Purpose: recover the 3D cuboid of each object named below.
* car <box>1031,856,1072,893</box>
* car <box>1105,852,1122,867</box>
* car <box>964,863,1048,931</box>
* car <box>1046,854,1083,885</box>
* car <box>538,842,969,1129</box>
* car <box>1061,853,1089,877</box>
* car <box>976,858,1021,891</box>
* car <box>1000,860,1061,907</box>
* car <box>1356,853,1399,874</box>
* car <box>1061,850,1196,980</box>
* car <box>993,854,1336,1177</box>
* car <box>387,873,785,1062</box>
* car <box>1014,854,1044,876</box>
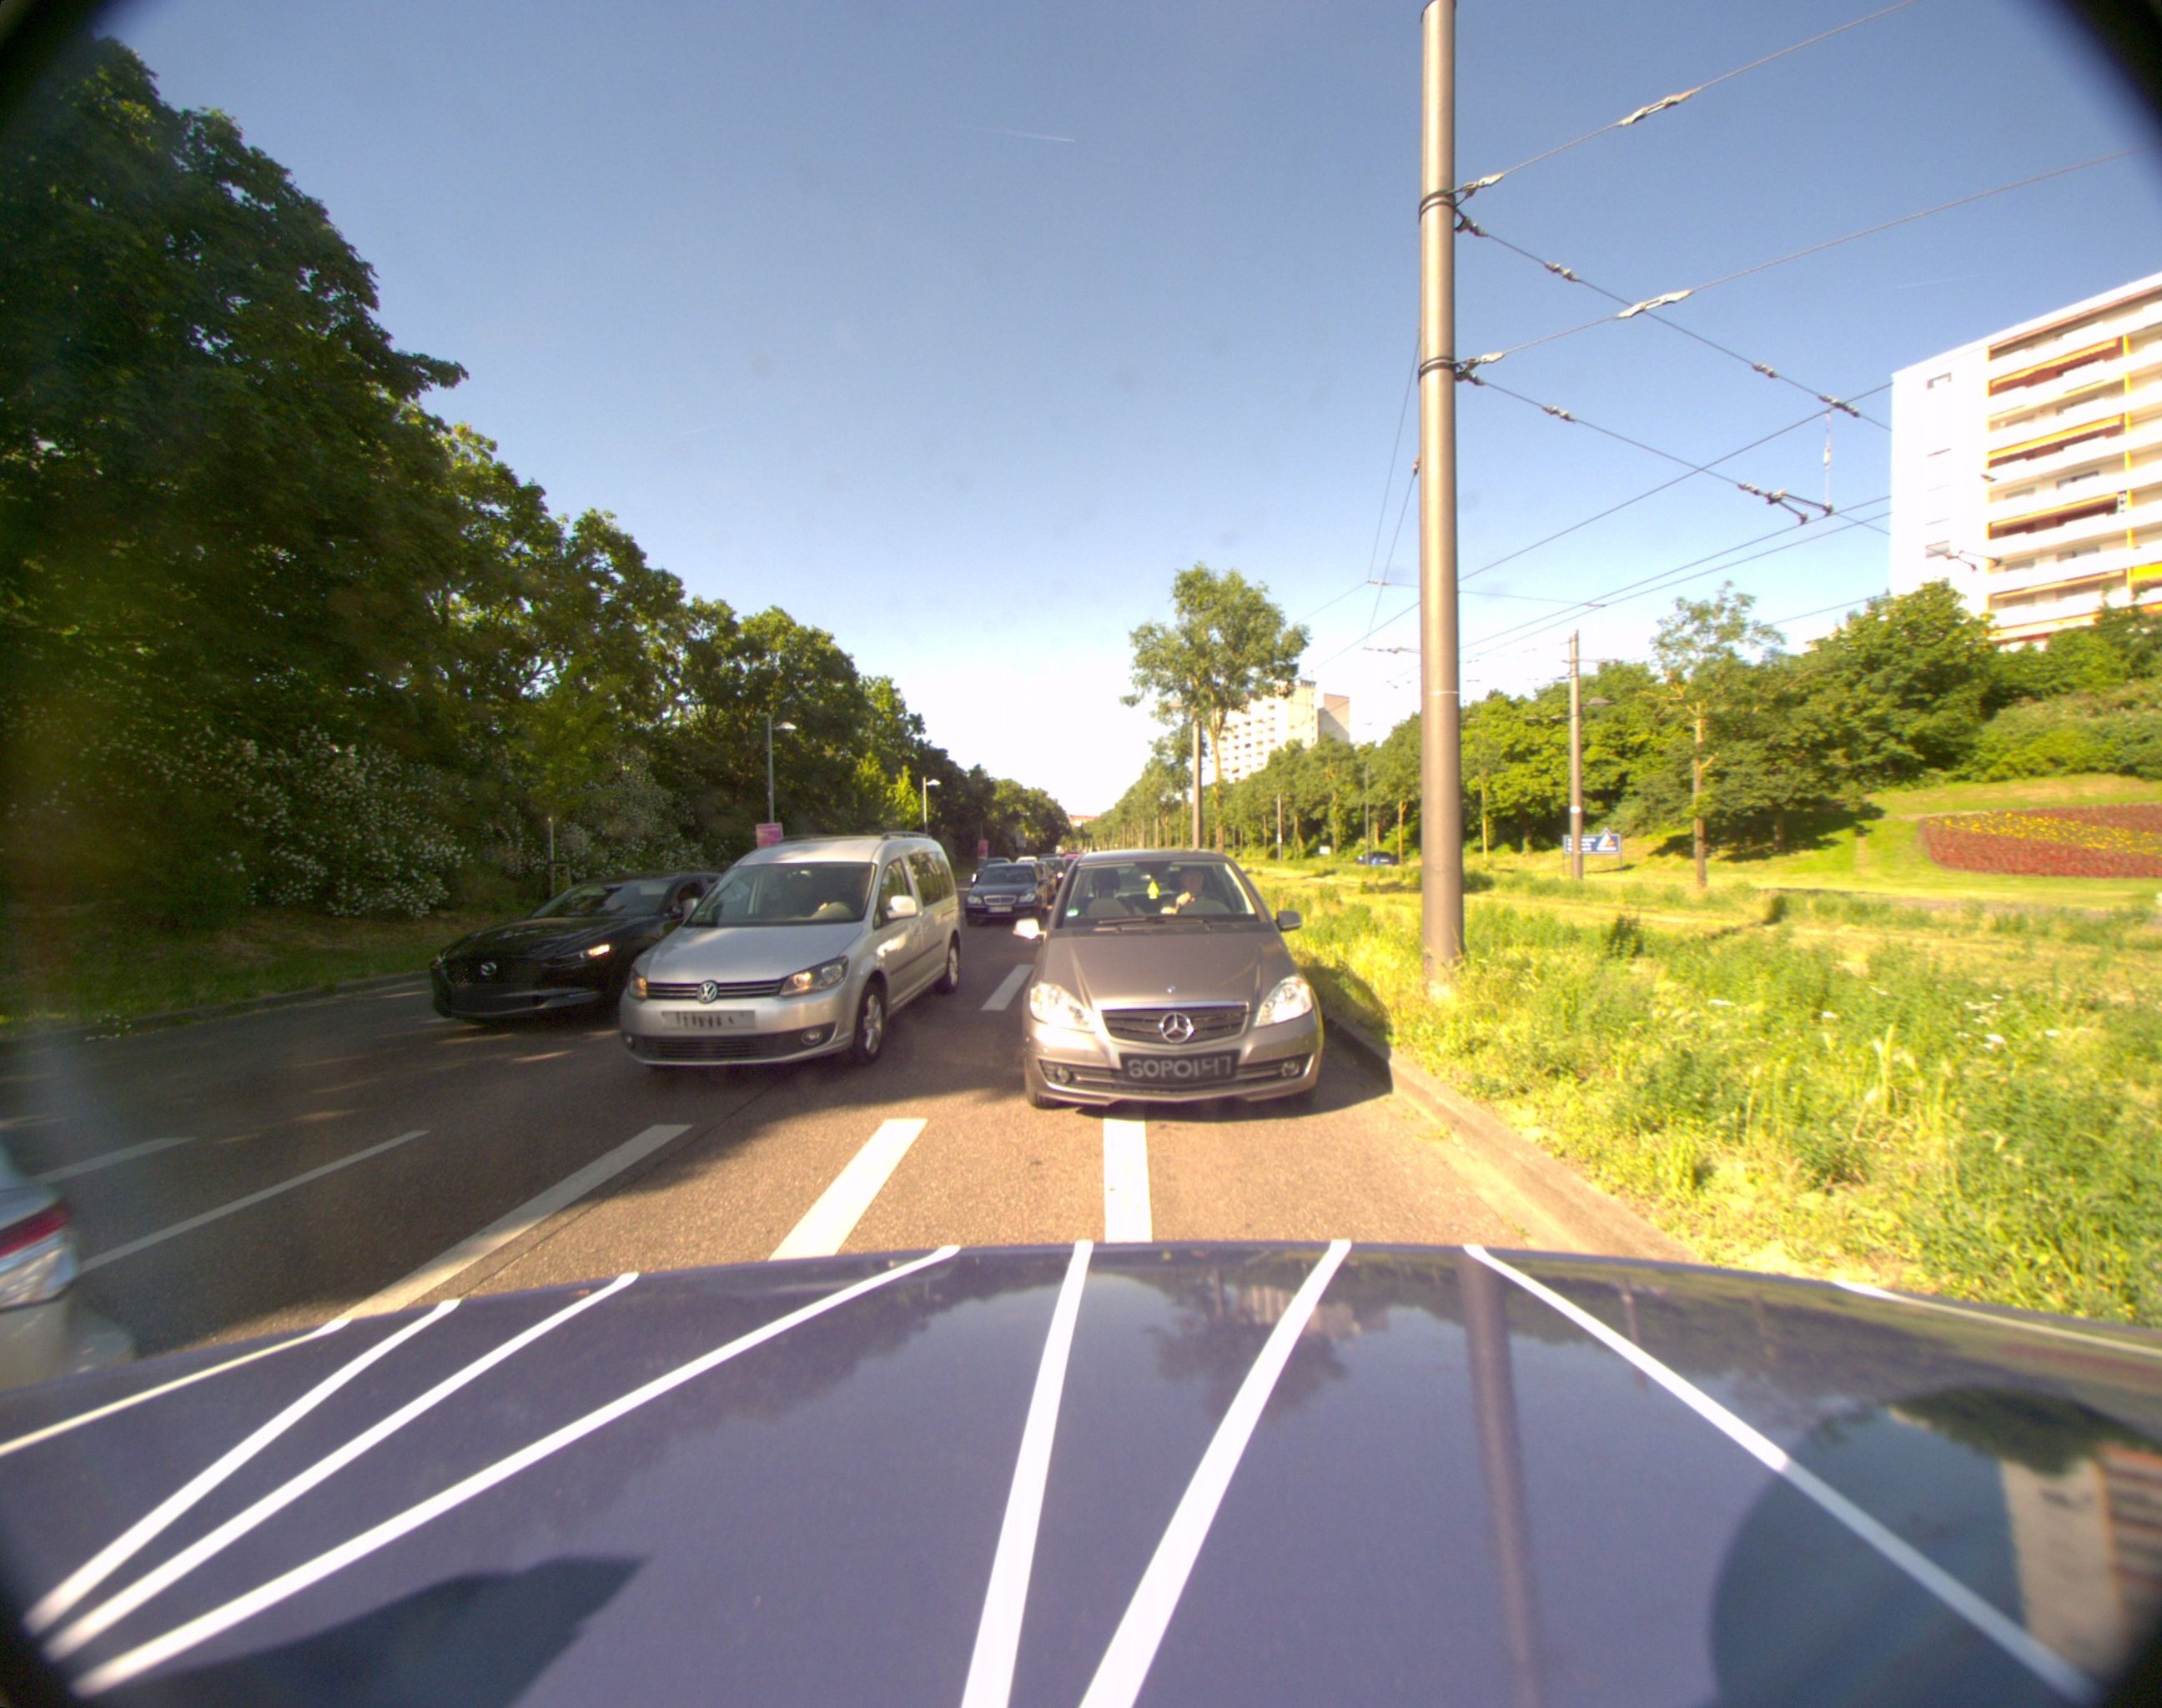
[{"bbox_3d":[-1.269,0.880,34.025,1.621,1.485,3.452,-2,1,0],"label":"car"},{"bbox_3d":[3.533,0.584,82.476,1.749,1.652,4.000,-1,0,1],"label":"car"},{"bbox_3d":[-1.764,0.977,19.014,1.717,1.445,4.197,-1,0,-1],"label":"car"},{"bbox_3d":[-0.812,0.767,39.849,1.713,1.430,4.171,-2,0,1],"label":"car"},{"bbox_3d":[-2.433,0.822,7.140,1.808,1.811,4.587,-2,1,3],"label":"car"},{"bbox_3d":[-0.382,0.727,50.670,1.685,1.437,3.727,-2,1,2],"label":"car"},{"bbox_3d":[-4.139,0.989,38.687,1.713,1.485,3.963,-2,0,1],"label":"car"},{"bbox_3d":[-1.667,0.951,26.183,1.723,1.411,4.050,-1,0,1],"label":"car"},{"bbox_3d":[20.879,0.658,53.697,1.578,1.412,3.909,-1,0,1],"label":"car"},{"bbox_3d":[0.662,0.808,12.168,1.749,1.652,3.999,-2,1,1],"label":"car"},{"bbox_3d":[0.470,0.859,6.013,1.749,1.630,4.000,-2,0,1],"label":"car"},{"bbox_3d":[-5.295,1.084,8.971,1.772,1.499,4.225,-2,1,2],"label":"car"},{"bbox_3d":[-3.793,0.786,55.798,1.749,1.427,4.386,-2,1,2],"label":"car"}]
